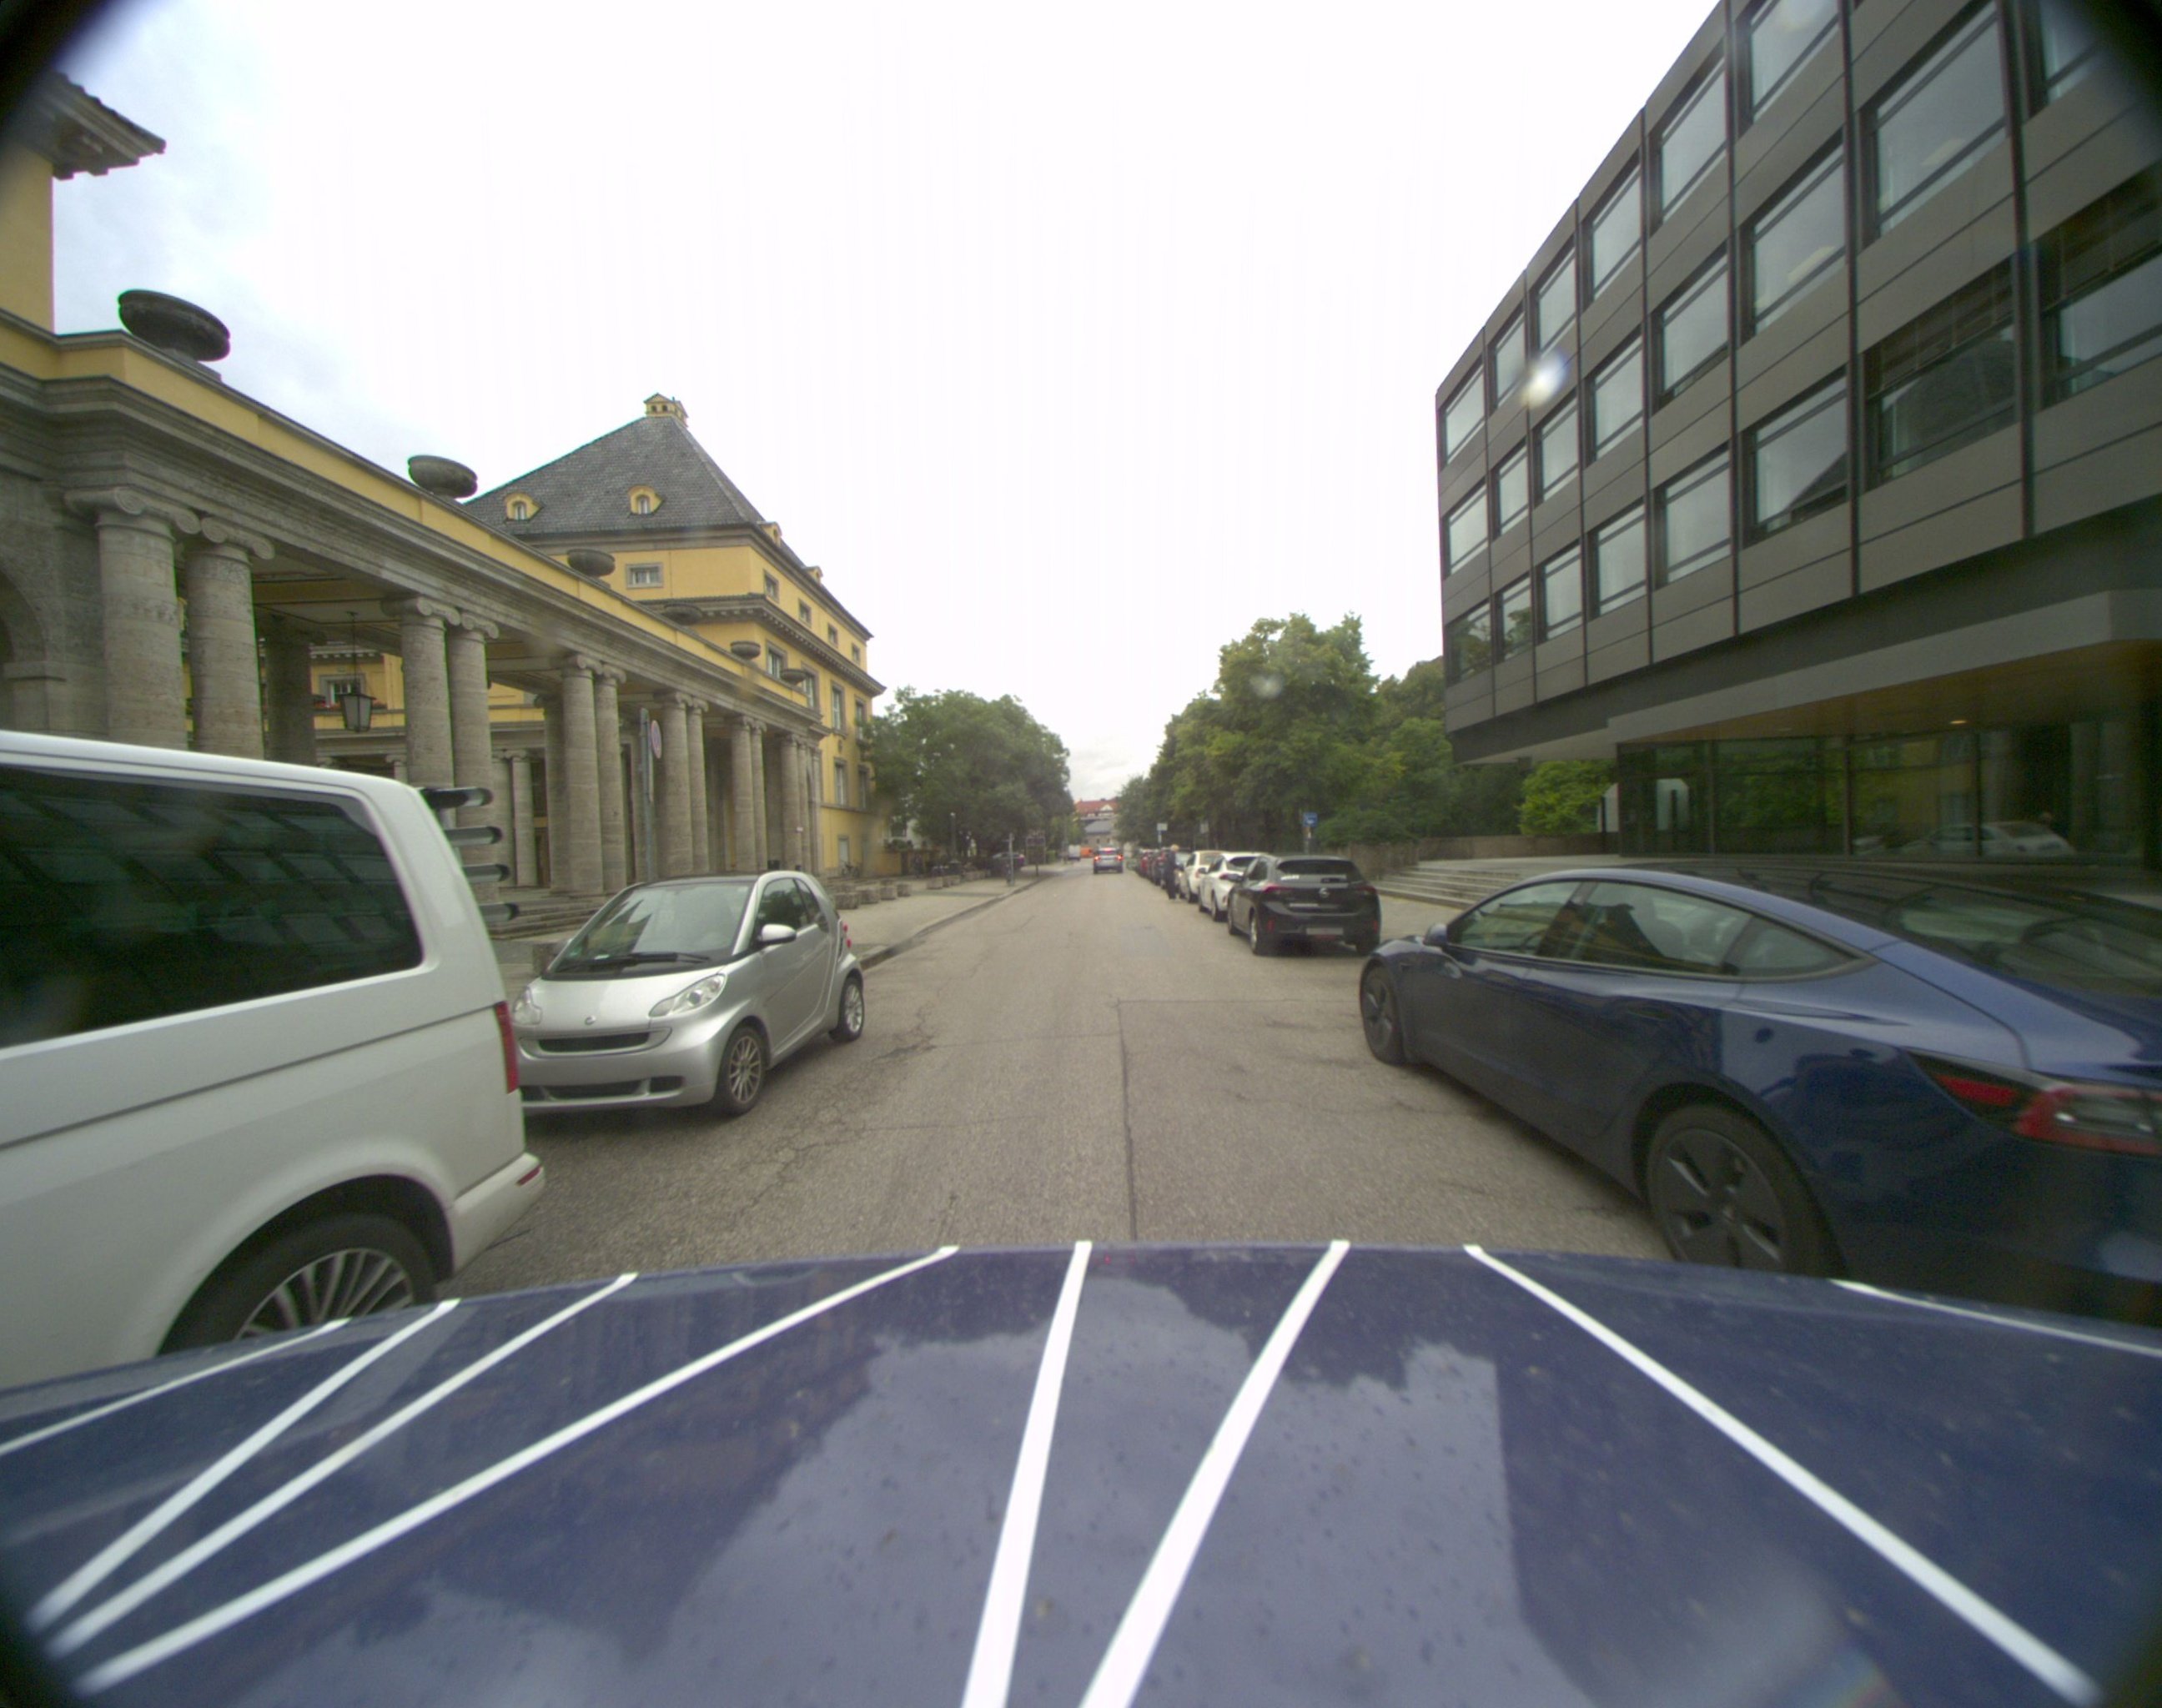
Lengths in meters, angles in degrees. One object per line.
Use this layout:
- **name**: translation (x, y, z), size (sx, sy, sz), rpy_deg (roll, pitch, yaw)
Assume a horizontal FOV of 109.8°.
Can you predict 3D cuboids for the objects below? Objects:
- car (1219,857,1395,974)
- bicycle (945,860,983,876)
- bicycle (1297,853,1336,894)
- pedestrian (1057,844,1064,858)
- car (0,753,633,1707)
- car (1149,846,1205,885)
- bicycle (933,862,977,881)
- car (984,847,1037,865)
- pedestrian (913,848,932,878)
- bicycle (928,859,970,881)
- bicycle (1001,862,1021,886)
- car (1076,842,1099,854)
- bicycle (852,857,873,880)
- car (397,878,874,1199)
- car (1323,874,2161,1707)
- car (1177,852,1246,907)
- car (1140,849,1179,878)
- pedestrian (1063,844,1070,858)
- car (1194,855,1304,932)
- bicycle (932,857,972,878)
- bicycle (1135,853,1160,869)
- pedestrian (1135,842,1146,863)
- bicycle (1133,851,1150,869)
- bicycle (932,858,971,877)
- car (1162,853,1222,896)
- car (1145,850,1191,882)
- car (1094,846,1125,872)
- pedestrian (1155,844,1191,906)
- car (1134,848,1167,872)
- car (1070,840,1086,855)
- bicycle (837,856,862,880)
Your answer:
- **car**: translation (3.331, 0.805, 12.039), size (1.744, 1.452, 4.237), rpy_deg (0, 1, 3)
- **bicycle**: translation (-7.374, 0.878, 47.813), size (2.261, 1.005, 0.602), rpy_deg (0, 0, 4)
- **bicycle**: translation (7.210, 0.581, 23.348), size (0.644, 1.158, 1.527), rpy_deg (-4, 1, 1)
- **pedestrian**: translation (-2.870, -0.365, 104.843), size (0.777, 1.855, 0.997), rpy_deg (-5, 2, -6)
- **car**: translation (-2.908, 0.853, 0.511), size (1.849, 1.922, 5.272), rpy_deg (-5, 1, 1)
- **car**: translation (4.167, 0.472, 33.663), size (1.998, 1.574, 4.522), rpy_deg (-1, 1, 2)
- **bicycle**: translation (-6.895, 0.945, 41.762), size (2.370, 1.000, 0.677), rpy_deg (0, 1, -7)
- **car**: translation (-7.057, 0.201, 75.940), size (4.902, 1.672, 1.969), rpy_deg (-1, 1, 14)
- **pedestrian**: translation (-9.201, 0.508, 44.190), size (0.790, 1.736, 1.056), rpy_deg (-1, 1, 1)
- **bicycle**: translation (-7.464, 0.899, 43.043), size (2.264, 1.088, 0.601), rpy_deg (3, 1, -9)
- **bicycle**: translation (-3.456, 0.991, 37.695), size (0.762, 1.094, 2.264), rpy_deg (0, 1, 1)
- **car**: translation (1.572, -1.383, 188.990), size (2.577, 2.521, 4.975), rpy_deg (-6, 2, -45)
- **bicycle**: translation (-13.204, 0.877, 45.993), size (0.601, 1.299, 2.165), rpy_deg (-1, 1, 1)
- **car**: translation (-2.837, 1.065, 5.618), size (1.609, 1.537, 2.934), rpy_deg (-4, 1, 2)
- **car**: translation (2.926, 0.927, 3.750), size (1.927, 1.431, 4.917), rpy_deg (0, 1, 0)
- **car**: translation (3.799, 0.698, 22.635), size (1.547, 1.462, 3.553), rpy_deg (0, 1, 2)
- **car**: translation (4.490, 0.499, 44.094), size (1.998, 1.535, 4.364), rpy_deg (-1, 1, 3)
- **pedestrian**: translation (-1.960, -0.445, 104.934), size (0.777, 1.855, 0.997), rpy_deg (-5, 2, -4)
- **car**: translation (3.606, 0.784, 17.070), size (1.685, 1.432, 4.279), rpy_deg (1, 1, 3)
- **bicycle**: translation (-7.585, 0.795, 44.750), size (2.264, 1.053, 0.601), rpy_deg (3, 1, -9)
- **bicycle**: translation (4.884, 0.528, 55.924), size (1.700, 1.101, 0.598), rpy_deg (-3, 1, -6)
- **pedestrian**: translation (5.214, -0.131, 66.228), size (0.798, 1.722, 0.660), rpy_deg (-5, 2, 0)
- **bicycle**: translation (4.573, 0.449, 57.460), size (0.574, 1.275, 1.421), rpy_deg (-3, 1, 34)
- **bicycle**: translation (-7.778, 0.799, 45.668), size (2.264, 1.018, 0.601), rpy_deg (3, 1, -9)
- **car**: translation (3.973, 0.687, 27.798), size (1.762, 1.392, 4.217), rpy_deg (1, 1, 3)
- **car**: translation (4.348, 0.571, 38.750), size (1.998, 1.452, 4.647), rpy_deg (-1, 1, 3)
- **car**: translation (2.028, 0.313, 53.283), size (2.029, 1.679, 4.678), rpy_deg (-1, 1, 3)
- **pedestrian**: translation (2.638, 0.596, 21.853), size (0.893, 1.742, 0.690), rpy_deg (0, 1, -7)
- **car**: translation (4.596, 0.382, 50.871), size (1.998, 1.452, 4.364), rpy_deg (-1, 1, 3)
- **car**: translation (-0.560, -1.039, 126.157), size (2.236, 2.289, 4.728), rpy_deg (-5, 1, -4)
- **bicycle**: translation (-13.286, 0.792, 43.635), size (0.601, 1.299, 2.264), rpy_deg (-1, 1, 2)
